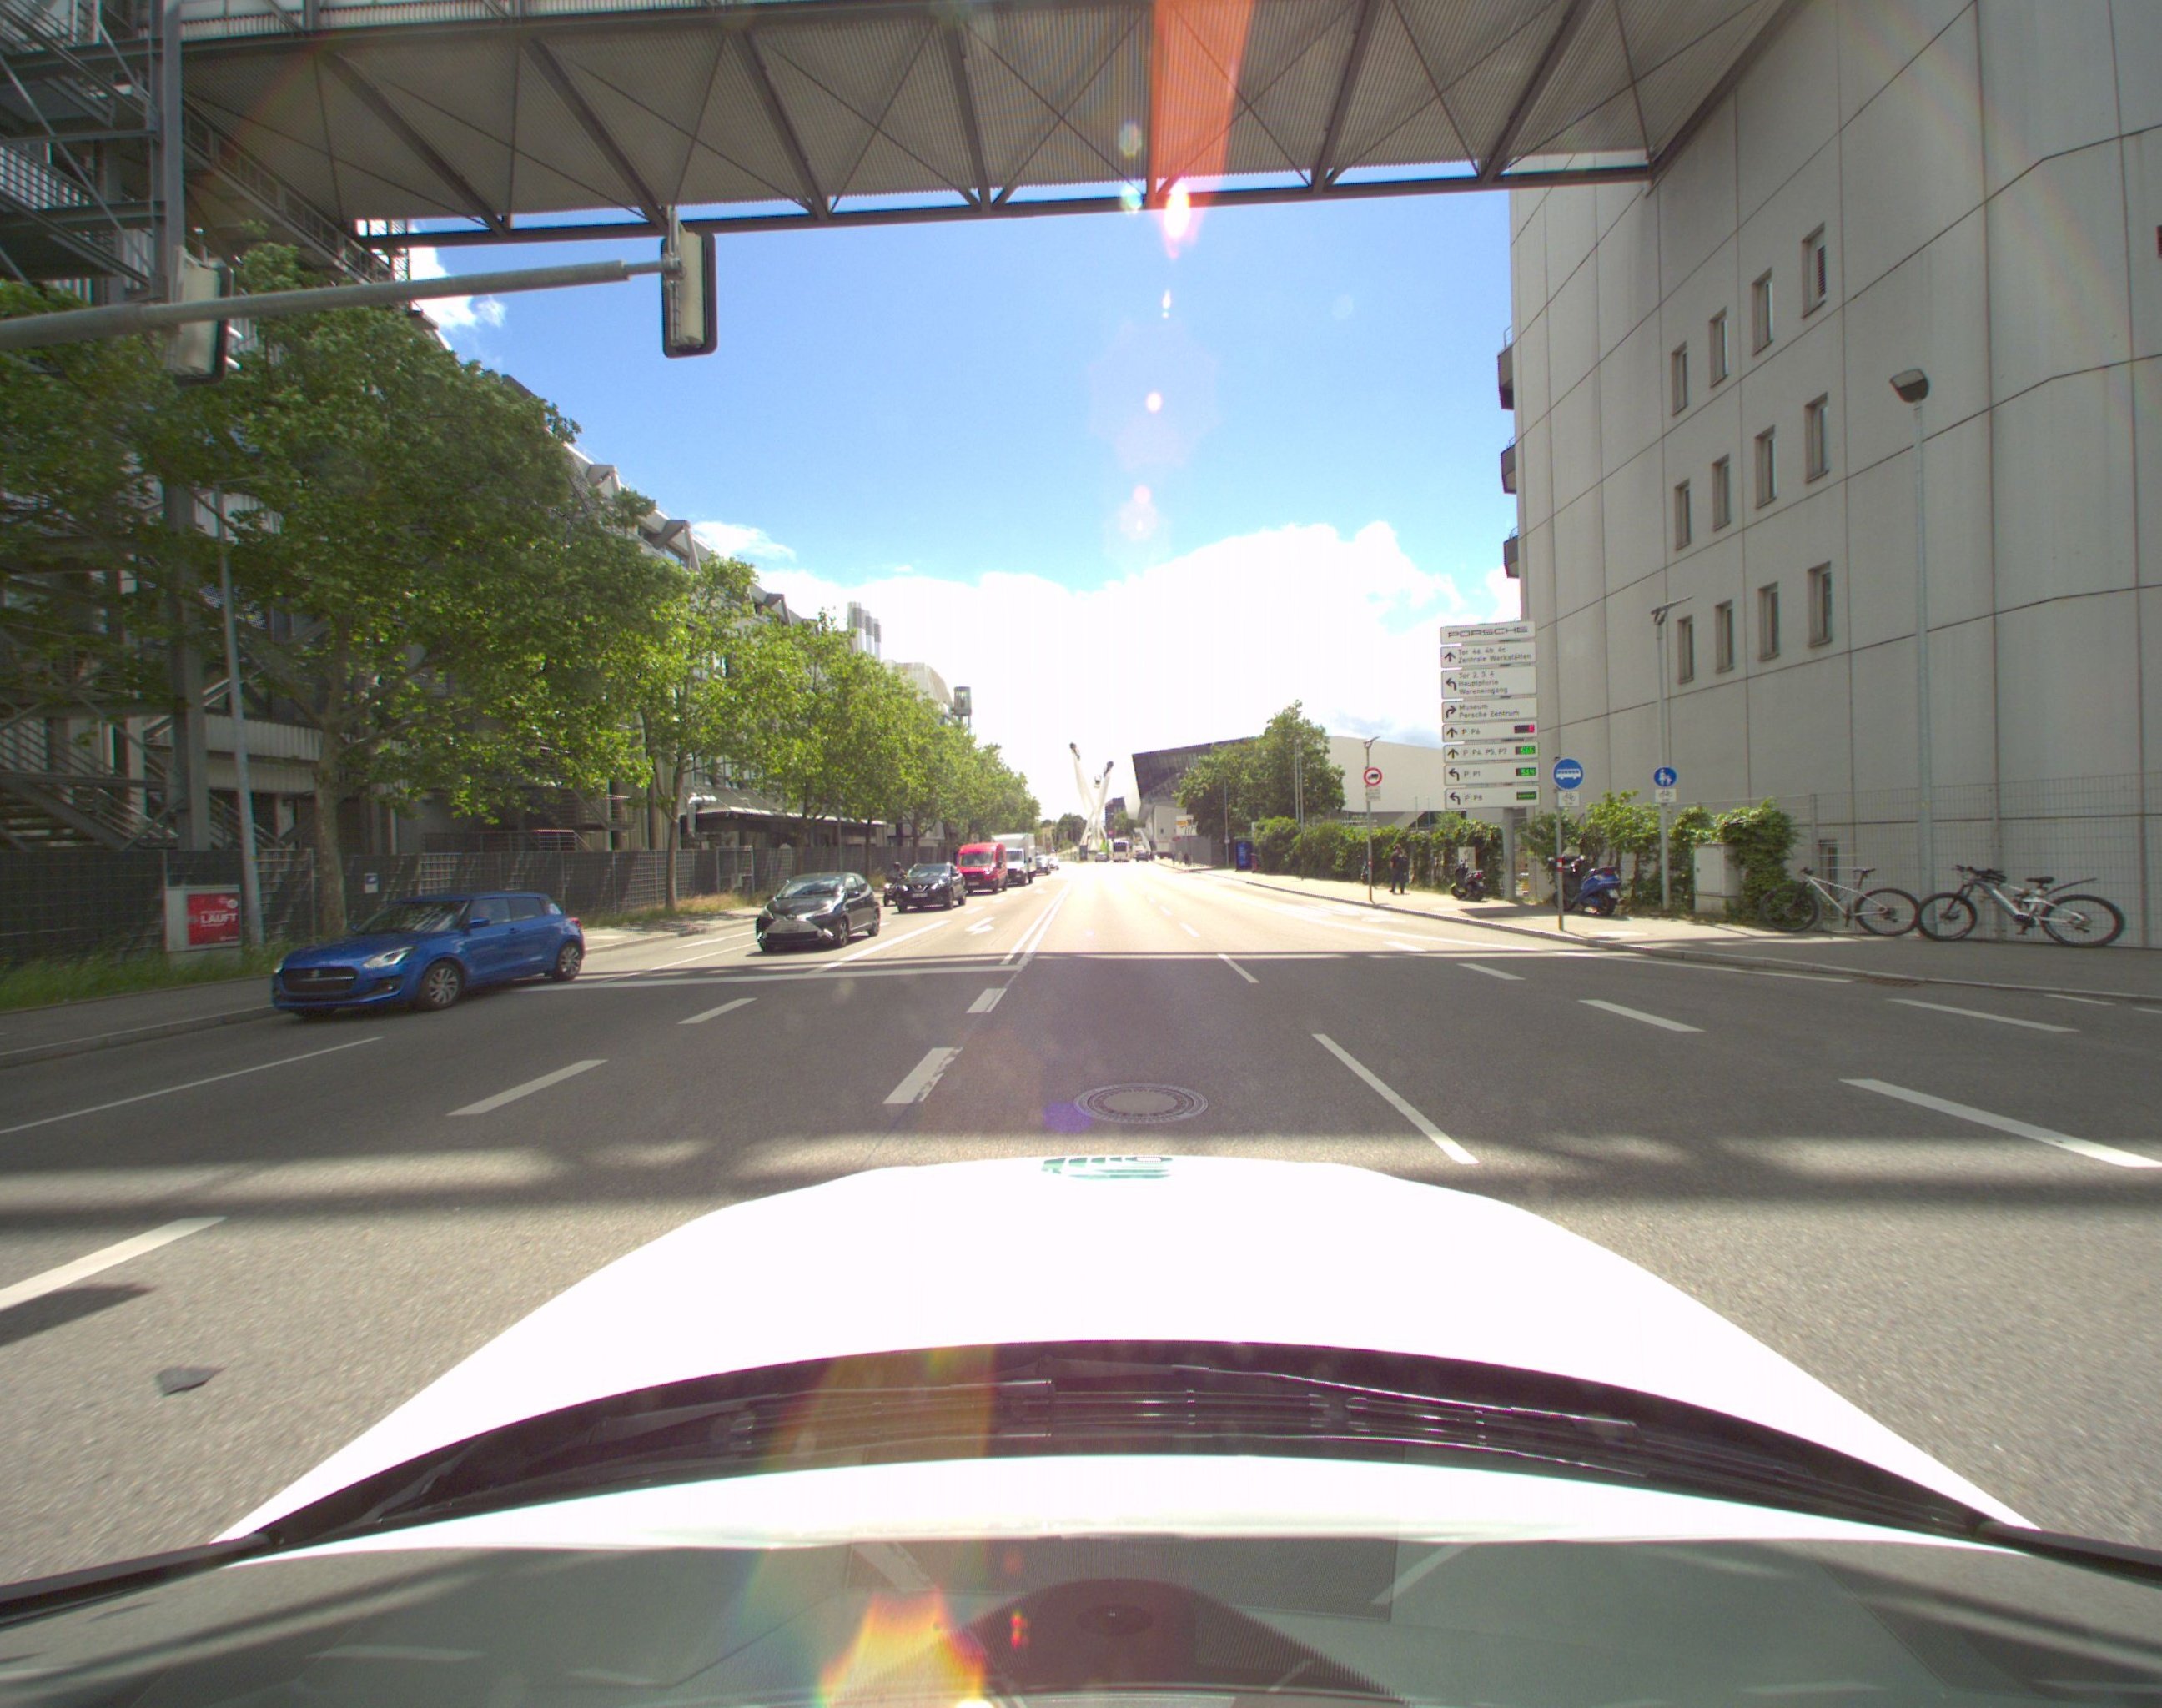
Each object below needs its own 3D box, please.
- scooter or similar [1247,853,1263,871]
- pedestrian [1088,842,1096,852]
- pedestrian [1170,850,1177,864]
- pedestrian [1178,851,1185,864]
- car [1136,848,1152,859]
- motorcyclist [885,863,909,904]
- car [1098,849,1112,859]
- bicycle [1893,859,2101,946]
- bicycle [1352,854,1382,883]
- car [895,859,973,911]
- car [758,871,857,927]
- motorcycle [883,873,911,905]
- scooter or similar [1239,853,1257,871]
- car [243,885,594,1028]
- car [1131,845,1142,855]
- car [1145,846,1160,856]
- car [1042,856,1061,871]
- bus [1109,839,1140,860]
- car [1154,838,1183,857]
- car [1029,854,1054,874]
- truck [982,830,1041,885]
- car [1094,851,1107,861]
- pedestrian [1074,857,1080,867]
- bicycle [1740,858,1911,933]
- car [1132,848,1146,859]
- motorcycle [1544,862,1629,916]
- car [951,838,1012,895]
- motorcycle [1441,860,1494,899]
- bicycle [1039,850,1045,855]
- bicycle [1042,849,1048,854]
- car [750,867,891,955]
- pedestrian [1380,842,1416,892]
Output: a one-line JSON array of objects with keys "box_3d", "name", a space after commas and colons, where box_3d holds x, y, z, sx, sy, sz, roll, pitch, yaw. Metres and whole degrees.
[{"box_3d": [11.722, 0.531, 54.738, 0.536, 1.163, 1.803, -3, 0, 29], "name": "scooter or similar"}, {"box_3d": [2.314, -1.462, 172.603, 1.281, 1.816, 0.984, -5, 4, -8], "name": "pedestrian"}, {"box_3d": [11.314, 0.361, 99.996, 0.792, 1.720, 0.732, 0, -1, 1], "name": "pedestrian"}, {"box_3d": [12.331, 0.415, 99.811, 0.792, 1.597, 0.732, 0, -1, 1], "name": "pedestrian"}, {"box_3d": [10.312, -0.069, 133.634, 1.979, 1.636, 4.016, -1, 0, 14], "name": "car"}, {"box_3d": [-7.473, 1.186, 33.118, 0.731, 1.622, 1.094, 0, -1, -2], "name": "motorcyclist"}, {"box_3d": [4.075, -0.001, 139.297, 1.983, 1.636, 4.008, 0, -1, 7], "name": "car"}, {"box_3d": [12.880, 0.670, 11.533, 1.862, 1.128, 0.549, -2, 1, 36], "name": "bicycle"}, {"box_3d": [12.090, 0.603, 34.456, 0.441, 1.180, 2.469, 0, -1, 2], "name": "bicycle"}, {"box_3d": [-5.037, 1.023, 28.457, 1.729, 1.684, 4.217, 0, 0, 3], "name": "car"}, {"box_3d": [-8.281, 1.326, 25.020, 1.571, 1.428, 3.921, -3, 0, 1], "name": "car"}, {"box_3d": [-7.461, 1.401, 33.063, 0.672, 1.220, 2.374, 0, -1, -2], "name": "motorcycle"}, {"box_3d": [11.429, 0.549, 55.638, 0.536, 1.163, 2.141, -3, 0, 29], "name": "scooter or similar"}, {"box_3d": [-8.855, 1.265, 11.391, 1.687, 1.429, 3.822, -2, 0, 1], "name": "car"}, {"box_3d": [11.464, -0.807, 166.956, 1.983, 2.171, 4.664, 0, -1, 7], "name": "car"}, {"box_3d": [12.483, -0.508, 141.378, 1.979, 1.636, 4.015, -1, -1, 14], "name": "car"}, {"box_3d": [-3.202, 1.016, 89.292, 1.685, 1.415, 4.147, -3, 0, 2], "name": "car"}, {"box_3d": [7.264, -0.650, 133.723, 3.051, 3.362, 12.263, -1, 0, 12], "name": "bus"}, {"box_3d": [16.857, -1.103, 156.486, 3.307, 3.504, 9.389, -1, -1, 21], "name": "car"}, {"box_3d": [-3.371, 0.865, 70.801, 1.733, 1.581, 4.269, -4, 0, 2], "name": "car"}, {"box_3d": [-4.135, 0.214, 49.900, 2.441, 3.129, 7.252, 0, -1, 4], "name": "truck"}, {"box_3d": [3.131, 0.325, 130.067, 1.985, 1.636, 4.002, 0, 0, 2], "name": "car"}, {"box_3d": [-0.738, 1.467, 151.122, 0.864, 1.774, 1.031, 0, -1, -12], "name": "pedestrian"}, {"box_3d": [11.958, 0.674, 13.176, 1.944, 1.128, 0.549, -3, 0, 36], "name": "bicycle"}, {"box_3d": [10.839, -0.129, 152.211, 1.979, 1.932, 4.257, -1, -1, 15], "name": "car"}, {"box_3d": [11.067, 0.733, 17.914, 0.588, 1.067, 2.038, -3, 0, 2], "name": "motorcycle"}, {"box_3d": [-4.817, 0.587, 40.252, 2.055, 2.507, 5.482, -3, 0, 2], "name": "car"}, {"box_3d": [11.351, 0.735, 23.992, 0.588, 1.067, 2.038, -3, 0, 2], "name": "motorcycle"}, {"box_3d": [-10.699, -0.415, 223.102, 1.600, 1.316, 0.493, 0, -1, 1], "name": "bicycle"}, {"box_3d": [-10.018, -0.642, 224.574, 1.600, 1.382, 0.493, 0, -1, 1], "name": "bicycle"}, {"box_3d": [-5.246, 1.083, 16.893, 1.552, 1.505, 3.615, -3, 0, 2], "name": "car"}, {"box_3d": [11.034, 0.448, 28.387, 0.807, 1.645, 0.997, -3, -1, 0], "name": "pedestrian"}]
